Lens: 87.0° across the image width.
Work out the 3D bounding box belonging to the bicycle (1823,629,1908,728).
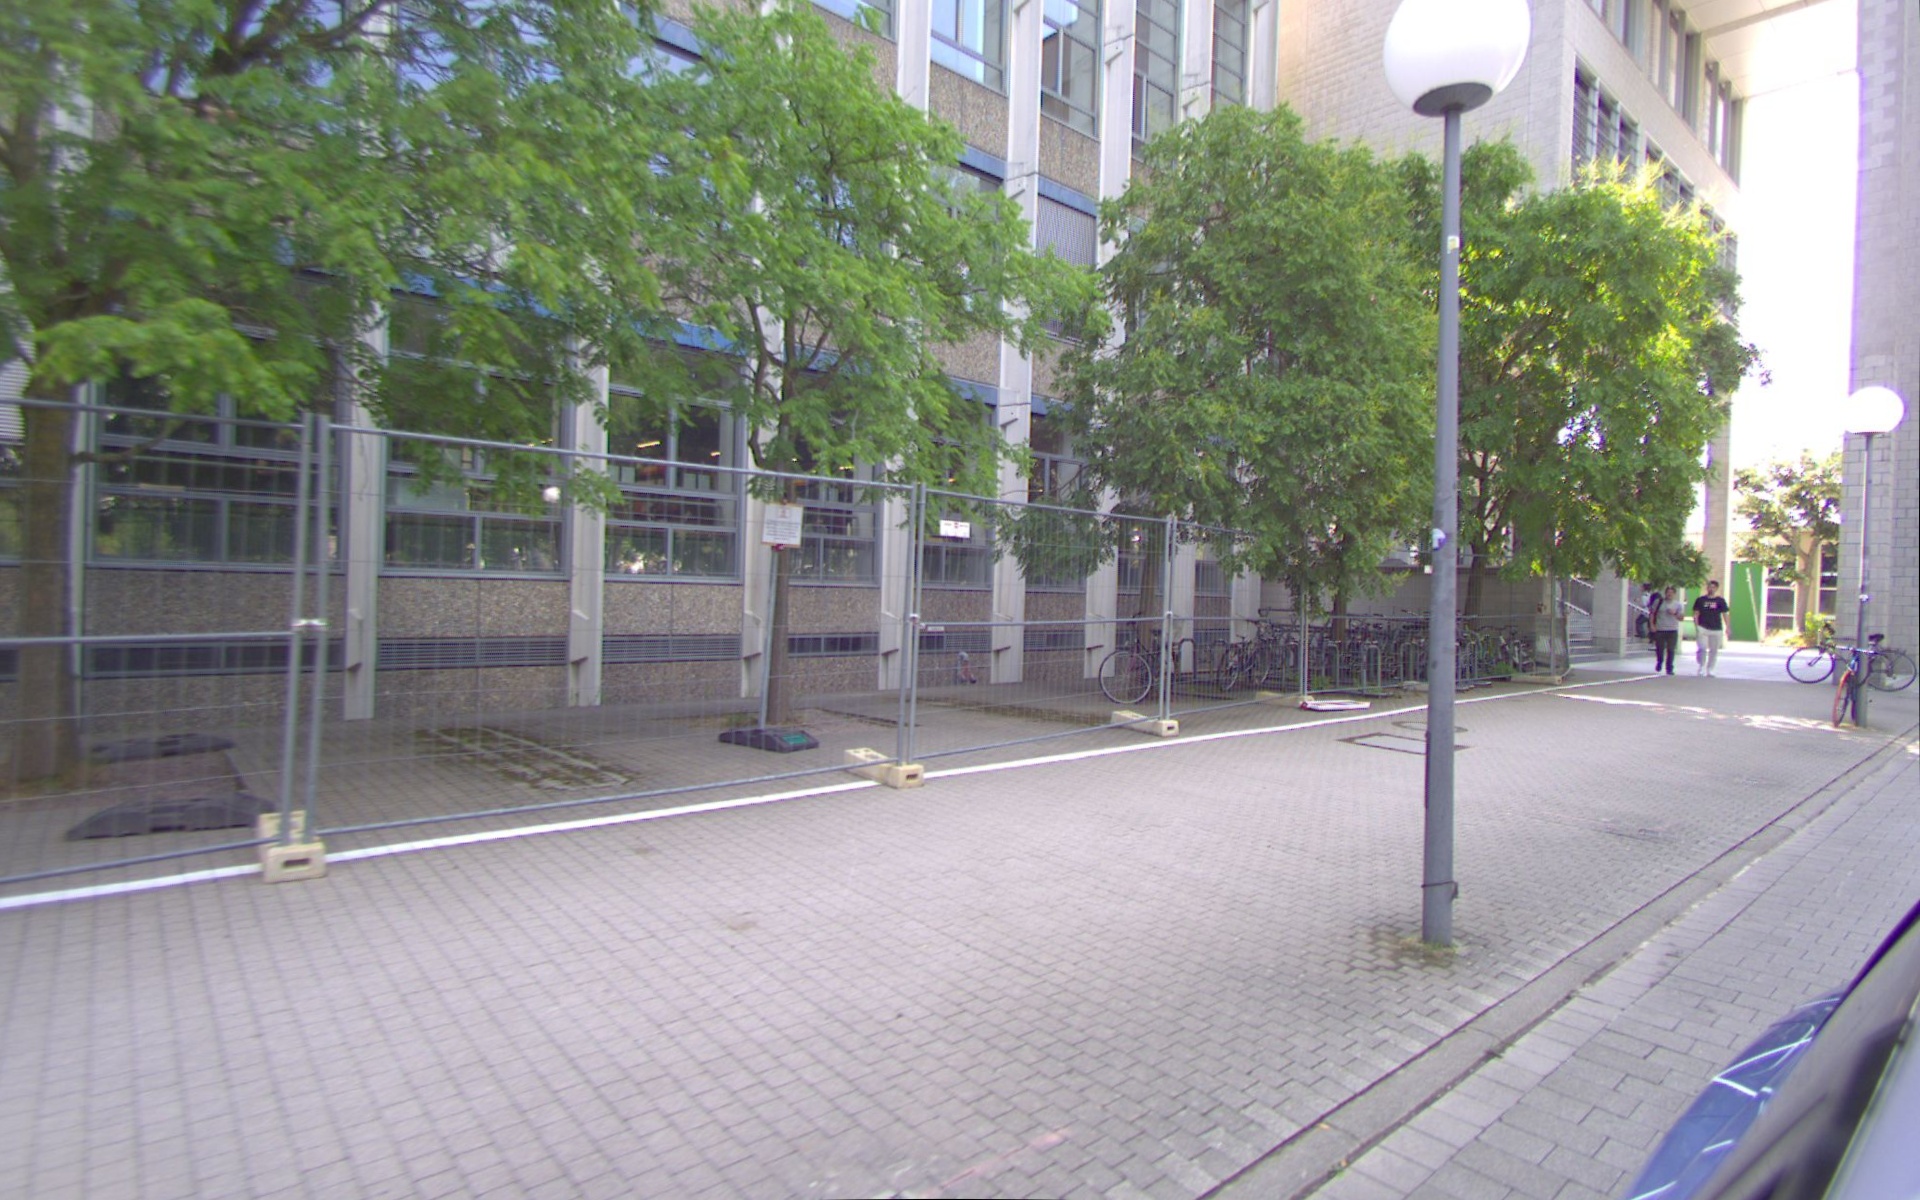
[{"bbox_3d":[10.973,0.907,12.249,1.826,1.052,0.538,0,2,-42],"label":"bicycle"}]

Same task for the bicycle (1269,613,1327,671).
[{"bbox_3d":[5.647,0.682,16.894,1.424,0.917,0.291,1,1,-45],"label":"bicycle"}]

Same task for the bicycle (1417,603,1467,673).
[{"bbox_3d":[8.260,0.627,17.321,1.424,1.142,0.291,1,1,-45],"label":"bicycle"}]

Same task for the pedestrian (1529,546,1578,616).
[{"bbox_3d":[15.880,-0.505,27.071,0.757,1.837,0.958,1,0,-44],"label":"pedestrian"}]

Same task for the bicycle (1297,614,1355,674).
[{"bbox_3d":[5.974,0.697,16.506,1.424,0.917,0.291,1,1,-45],"label":"bicycle"}]

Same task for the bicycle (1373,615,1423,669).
[{"bbox_3d":[7.732,0.726,17.848,1.424,0.898,0.291,1,1,-45],"label":"bicycle"}]

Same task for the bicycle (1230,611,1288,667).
[{"bbox_3d":[5.176,0.664,17.469,1.424,0.917,0.291,1,1,-45],"label":"bicycle"}]

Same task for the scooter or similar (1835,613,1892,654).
[{"bbox_3d":[26.777,0.984,30.011,0.436,1.165,1.158,2,1,-36],"label":"scooter or similar"}]

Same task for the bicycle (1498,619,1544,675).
[{"bbox_3d":[9.766,0.802,17.595,1.424,0.917,0.291,1,1,-45],"label":"bicycle"}]

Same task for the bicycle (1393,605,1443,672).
[{"bbox_3d":[7.967,0.645,17.586,1.424,1.108,0.291,1,1,-45],"label":"bicycle"}]

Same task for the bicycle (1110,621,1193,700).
[{"bbox_3d":[2.480,0.752,12.999,0.290,0.917,1.595,2,1,40],"label":"bicycle"}]

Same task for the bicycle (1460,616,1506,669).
[{"bbox_3d":[9.427,0.748,18.214,1.424,0.917,0.291,1,1,-45],"label":"bicycle"}]

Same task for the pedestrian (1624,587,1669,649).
[{"bbox_3d":[19.205,0.490,28.325,0.896,1.691,0.664,2,1,44],"label":"pedestrian"}]

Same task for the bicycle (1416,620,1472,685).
[{"bbox_3d":[7.316,0.769,15.275,1.424,0.917,0.291,1,1,-45],"label":"bicycle"}]

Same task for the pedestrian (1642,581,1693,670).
[{"bbox_3d":[13.796,0.478,19.754,0.697,1.676,0.873,2,1,31],"label":"pedestrian"}]

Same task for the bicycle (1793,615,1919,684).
[{"bbox_3d":[15.463,0.827,17.370,0.442,1.052,1.740,2,1,-45],"label":"bicycle"}]

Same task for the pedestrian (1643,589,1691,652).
[{"bbox_3d":[18.837,0.528,26.972,0.797,1.637,0.737,2,1,18],"label":"pedestrian"}]

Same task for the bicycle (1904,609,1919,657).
[{"bbox_3d":[24.781,0.892,25.130,1.882,1.178,0.595,5,2,45],"label":"bicycle"}]

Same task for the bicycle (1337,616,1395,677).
[{"bbox_3d":[6.444,0.719,16.020,1.424,0.917,0.291,1,1,-45],"label":"bicycle"}]

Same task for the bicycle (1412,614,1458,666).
[{"bbox_3d":[8.869,0.727,18.882,1.424,0.917,0.291,1,1,-45],"label":"bicycle"}]

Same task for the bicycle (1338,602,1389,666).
[{"bbox_3d":[7.315,0.598,18.337,1.424,1.113,0.291,1,1,-45],"label":"bicycle"}]

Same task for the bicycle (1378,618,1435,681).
[{"bbox_3d":[6.900,0.745,15.623,1.424,0.917,0.291,1,1,-45],"label":"bicycle"}]

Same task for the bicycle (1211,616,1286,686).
[{"bbox_3d":[4.102,0.694,14.331,0.290,0.917,1.779,2,1,40],"label":"bicycle"}]

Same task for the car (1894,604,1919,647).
[{"bbox_3d":[36.292,1.001,36.394,1.625,1.494,3.774,-2,3,-41],"label":"car"}]

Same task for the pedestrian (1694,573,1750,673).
[{"bbox_3d":[14.509,0.422,19.282,0.697,1.826,0.873,2,1,31],"label":"pedestrian"}]

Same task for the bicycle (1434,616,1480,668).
[{"bbox_3d":[9.139,0.756,18.576,1.424,0.917,0.291,1,1,-45],"label":"bicycle"}]

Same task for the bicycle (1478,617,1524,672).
[{"bbox_3d":[9.555,0.762,17.858,1.424,0.917,0.291,1,1,-45],"label":"bicycle"}]
